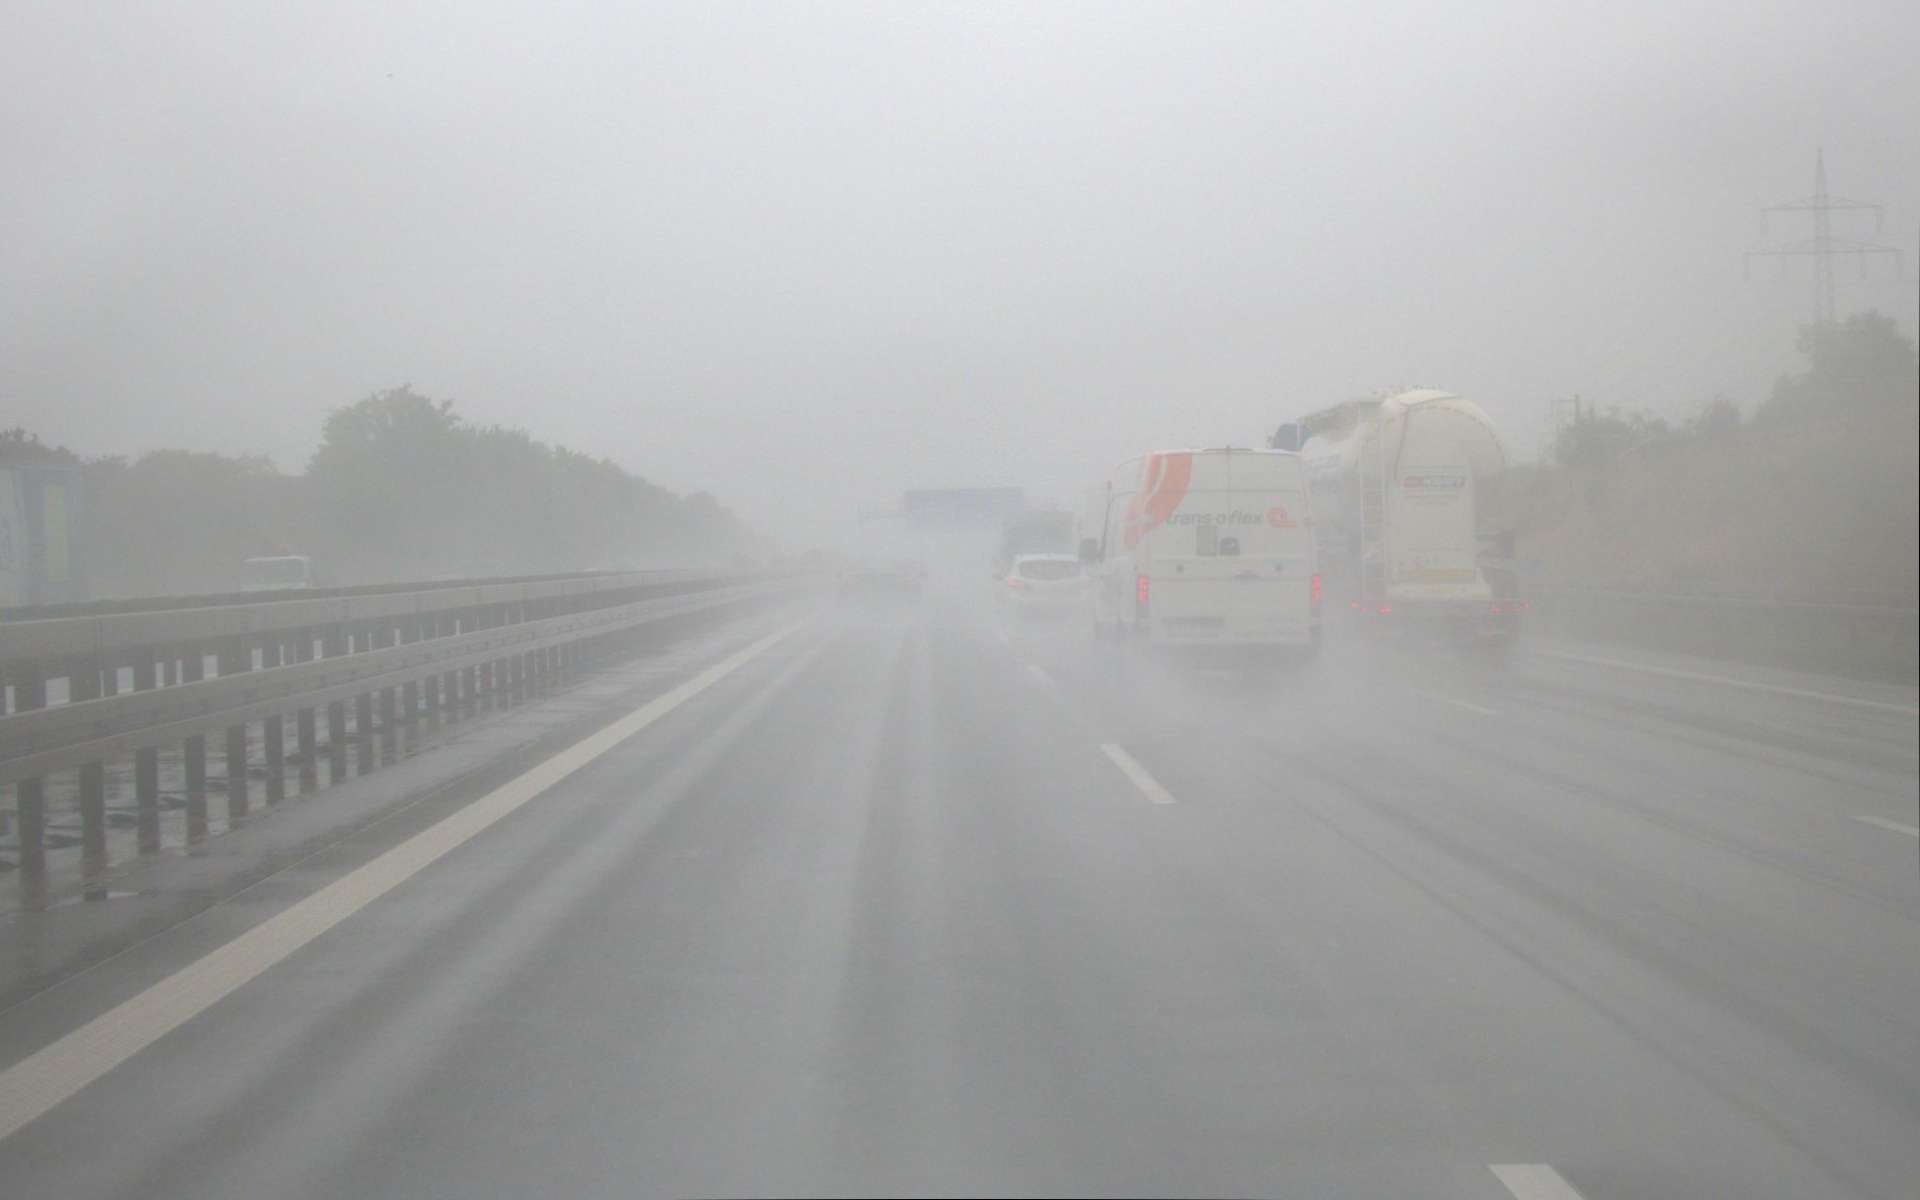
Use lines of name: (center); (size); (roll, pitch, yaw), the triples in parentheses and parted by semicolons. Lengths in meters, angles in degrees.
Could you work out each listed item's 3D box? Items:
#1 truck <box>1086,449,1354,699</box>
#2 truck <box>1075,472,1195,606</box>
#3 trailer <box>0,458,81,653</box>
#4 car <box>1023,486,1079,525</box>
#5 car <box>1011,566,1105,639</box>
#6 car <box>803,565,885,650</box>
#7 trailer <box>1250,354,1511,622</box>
truck: (2.711, -0.294, 37.331); (2.419, 2.484, 5.560); (1, 1, 0)
truck: (6.332, -2.112, 127.167); (3.039, 4.572, 16.351); (1, 0, -2)
trailer: (-20.023, -0.877, 66.532); (2.633, 3.791, 13.585); (1, 1, -1)
car: (4.940, -5.130, 187.673); (2.788, 2.007, 4.993); (1, 1, -1)
car: (1.862, 0.031, 66.439); (1.605, 1.333, 3.848); (1, 1, -1)
car: (-2.555, 0.143, 76.274); (1.702, 1.812, 3.862); (1, 1, 0)
trailer: (6.594, -1.701, 55.592); (2.497, 3.869, 11.067); (1, 1, -2)
